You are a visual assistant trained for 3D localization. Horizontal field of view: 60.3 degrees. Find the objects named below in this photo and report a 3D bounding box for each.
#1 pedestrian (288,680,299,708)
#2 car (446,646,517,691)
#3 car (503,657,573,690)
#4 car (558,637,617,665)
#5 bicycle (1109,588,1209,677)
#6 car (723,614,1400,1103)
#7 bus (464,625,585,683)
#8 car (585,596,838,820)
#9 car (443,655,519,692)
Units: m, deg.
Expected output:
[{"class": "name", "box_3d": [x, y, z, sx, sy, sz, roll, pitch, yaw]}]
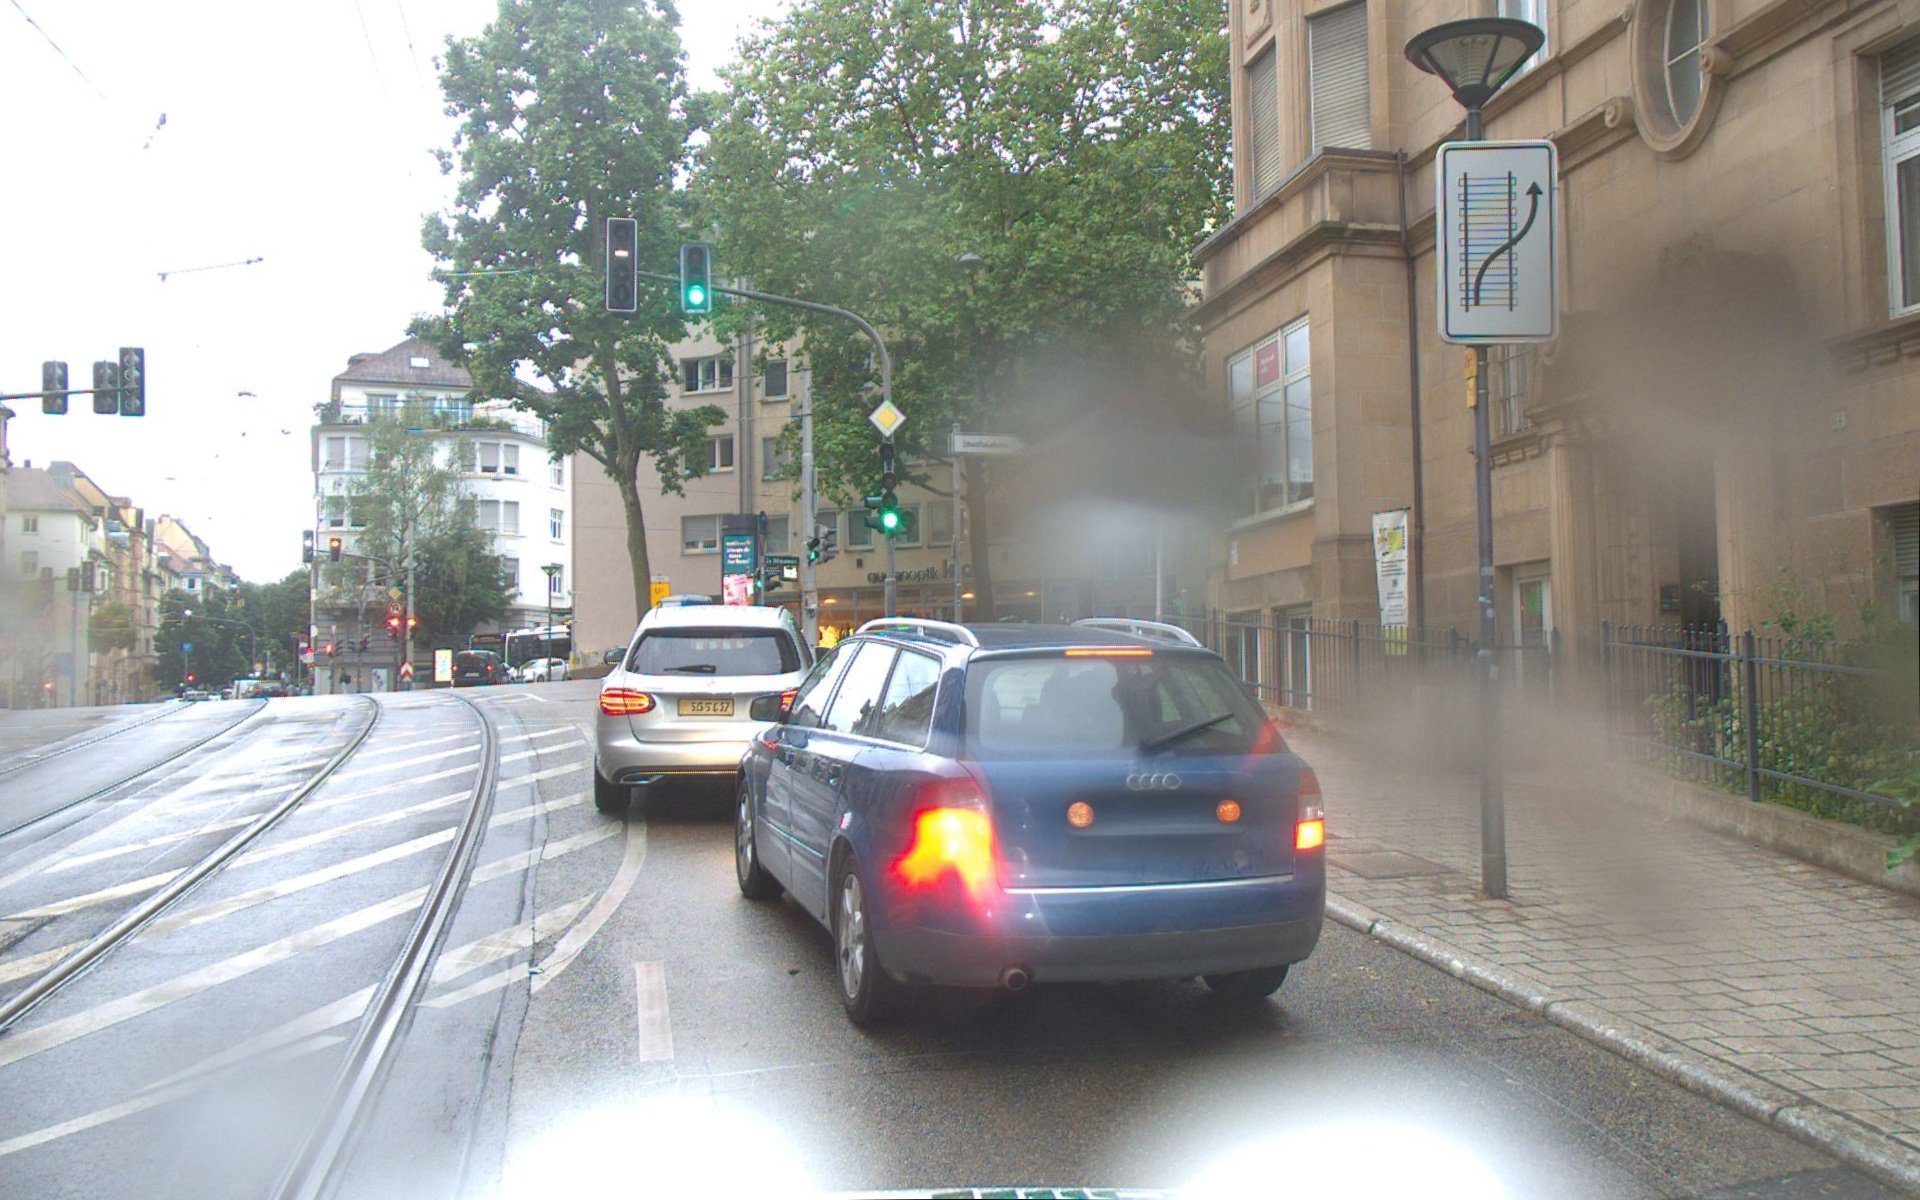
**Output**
[{"class": "pedestrian", "box_3d": [-41.696, 5.893, 103.503, 0.639, 1.690, 0.646, 0, -1, -21]}, {"class": "car", "box_3d": [-19.465, 2.766, 67.392, 1.758, 1.536, 3.999, -3, 0, -2]}, {"class": "car", "box_3d": [-22.389, 3.872, 87.936, 1.756, 1.536, 4.002, -1, 0, 17]}, {"class": "car", "box_3d": [-22.855, 3.123, 101.476, 1.756, 1.536, 4.002, -1, 0, 17]}, {"class": "bicycle", "box_3d": [2.854, 0.460, 23.720, 1.278, 1.194, 0.524, -3, 0, -13]}, {"class": "car", "box_3d": [0.101, 0.805, 7.219, 1.683, 1.440, 4.017, 0, 0, -17]}, {"class": "bus", "box_3d": [-24.603, 2.993, 93.970, 2.793, 2.911, 8.741, -1, 0, 13]}, {"class": "car", "box_3d": [-1.904, 0.716, 12.891, 1.678, 1.481, 3.546, 0, 0, -8]}, {"class": "car", "box_3d": [-23.960, 3.663, 82.885, 1.756, 1.642, 4.002, -1, 0, 17]}]
